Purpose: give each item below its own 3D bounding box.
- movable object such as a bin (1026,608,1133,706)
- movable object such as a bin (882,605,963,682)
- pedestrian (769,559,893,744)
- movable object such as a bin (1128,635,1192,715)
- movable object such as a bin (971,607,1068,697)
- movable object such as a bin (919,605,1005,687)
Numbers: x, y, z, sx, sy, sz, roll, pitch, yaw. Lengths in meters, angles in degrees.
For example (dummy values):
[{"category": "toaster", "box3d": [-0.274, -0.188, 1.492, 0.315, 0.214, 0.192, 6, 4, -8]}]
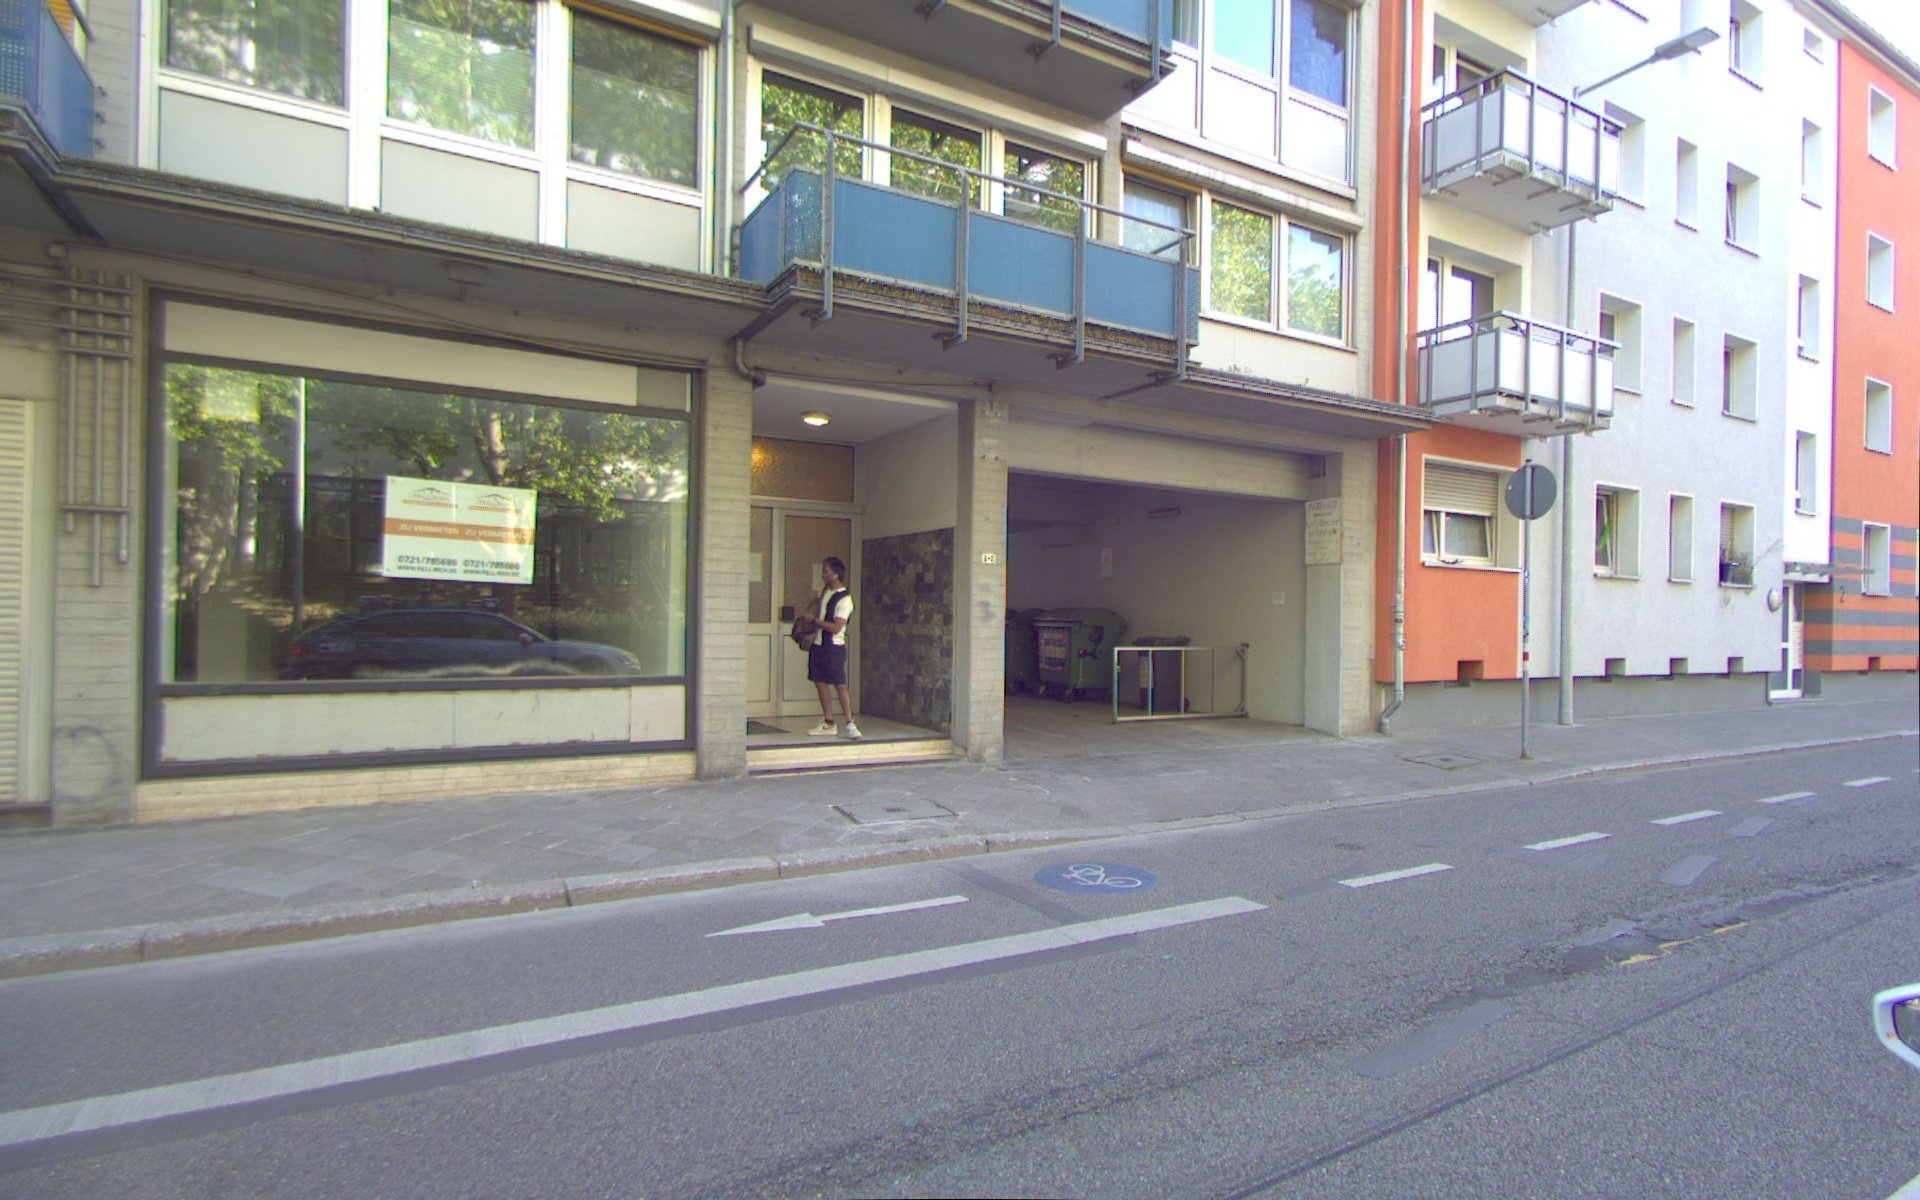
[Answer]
[{"category": "movable object such as a bin", "box3d": [1.872, 0.874, 15.817, 1.120, 1.444, 1.268, 2, 0, -28]}, {"category": "movable object such as a bin", "box3d": [-0.744, 0.835, 19.794, 1.120, 1.444, 1.268, 2, 0, -28]}, {"category": "pedestrian", "box3d": [-1.216, 0.458, 9.460, 0.831, 1.639, 0.784, 2, 0, -42]}, {"category": "movable object such as a bin", "box3d": [2.884, 1.073, 14.493, 0.713, 1.094, 0.533, 2, 0, -29]}, {"category": "movable object such as a bin", "box3d": [1.005, 0.873, 17.159, 1.120, 1.444, 1.268, 2, 0, -28]}, {"category": "movable object such as a bin", "box3d": [0.027, 0.832, 18.703, 1.120, 1.444, 1.268, 2, 0, -28]}]
